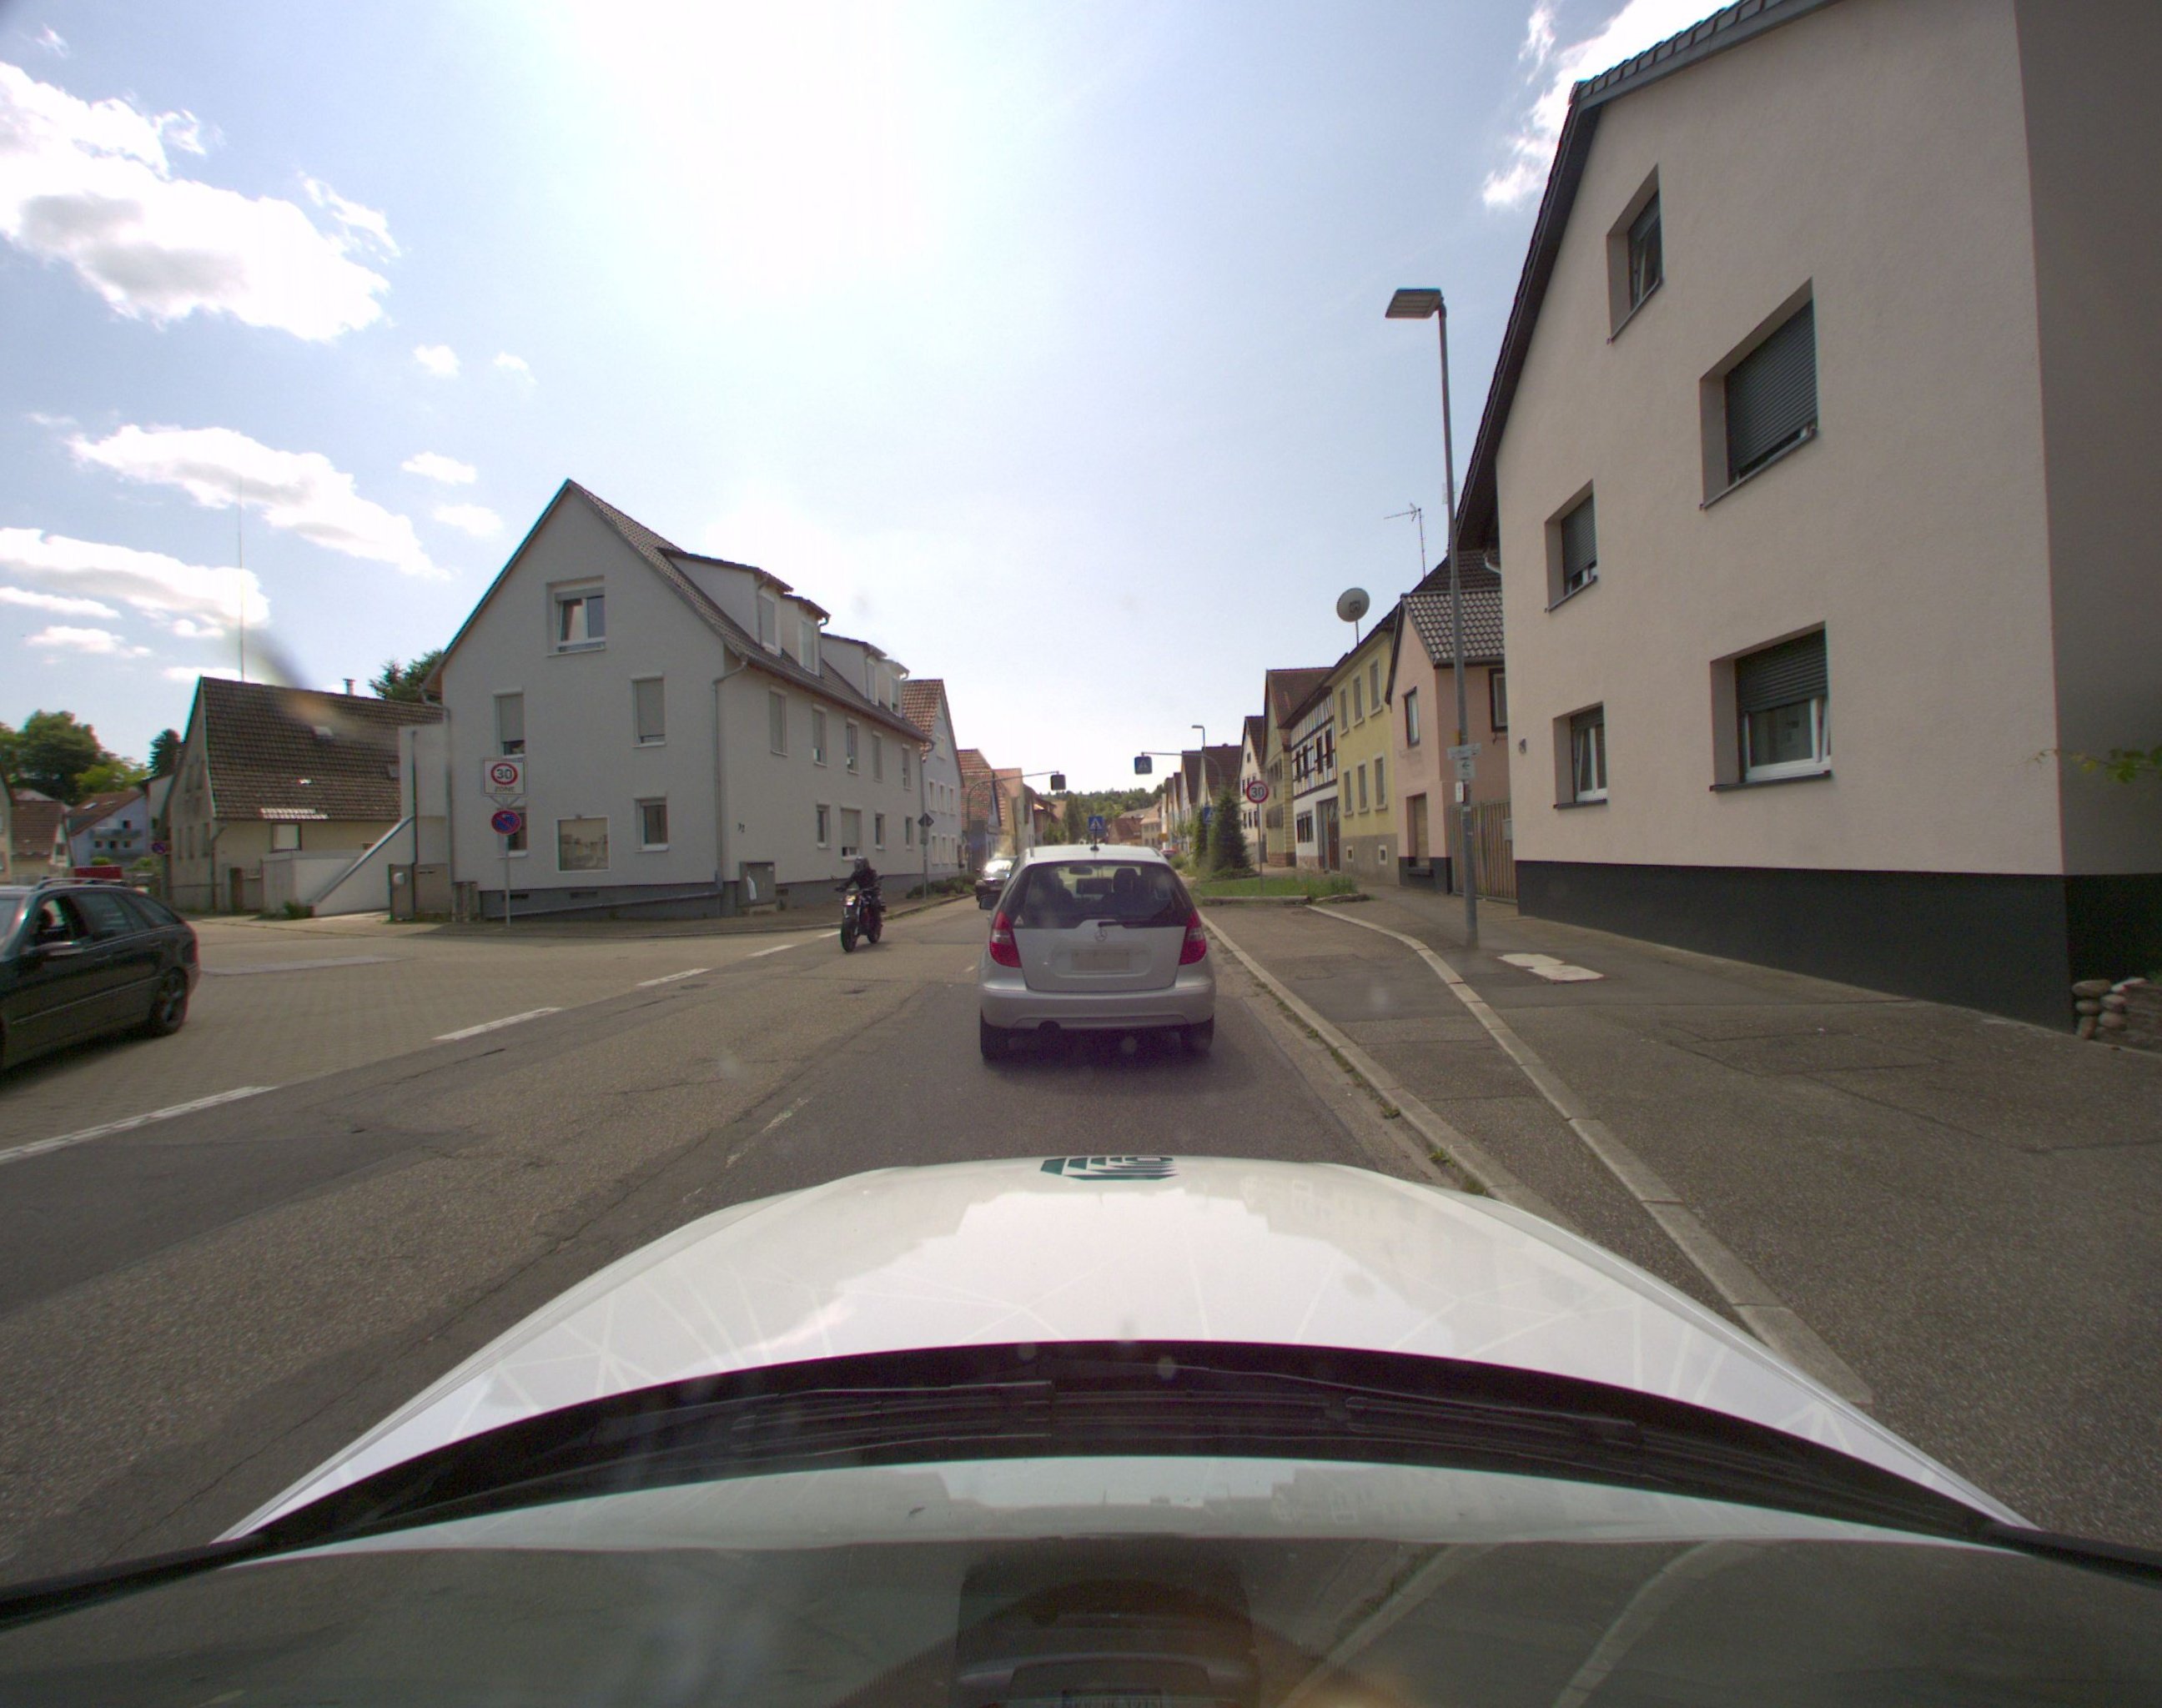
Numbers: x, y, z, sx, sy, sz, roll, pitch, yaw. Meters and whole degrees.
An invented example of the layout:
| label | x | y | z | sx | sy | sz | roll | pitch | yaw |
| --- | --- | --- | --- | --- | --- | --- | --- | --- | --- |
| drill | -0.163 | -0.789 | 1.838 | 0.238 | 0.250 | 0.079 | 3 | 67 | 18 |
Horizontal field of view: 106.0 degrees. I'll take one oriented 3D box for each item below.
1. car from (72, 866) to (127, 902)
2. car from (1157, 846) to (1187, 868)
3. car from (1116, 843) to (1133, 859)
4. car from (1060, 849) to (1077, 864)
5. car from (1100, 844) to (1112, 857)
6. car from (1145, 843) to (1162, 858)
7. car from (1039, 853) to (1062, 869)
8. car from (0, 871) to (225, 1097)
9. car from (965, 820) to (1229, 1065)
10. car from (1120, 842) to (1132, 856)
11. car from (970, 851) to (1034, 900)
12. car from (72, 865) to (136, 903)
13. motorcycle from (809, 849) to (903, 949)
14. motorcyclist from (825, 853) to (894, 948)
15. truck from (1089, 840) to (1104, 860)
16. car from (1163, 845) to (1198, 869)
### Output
| label | x | y | z | sx | sy | sz | roll | pitch | yaw |
| --- | --- | --- | --- | --- | --- | --- | --- | --- | --- |
| car | -46.310 | 1.425 | 38.418 | 3.431 | 1.635 | 1.406 | -3 | -2 | 36 |
| car | 6.934 | 0.246 | 62.315 | 1.985 | 1.508 | 4.002 | -1 | -2 | 2 |
| car | 5.452 | -0.310 | 101.776 | 1.986 | 1.816 | 4.001 | -1 | -2 | 1 |
| car | -1.347 | 0.305 | 92.159 | 1.660 | 1.596 | 4.002 | -1 | -2 | 3 |
| car | 4.507 | -0.606 | 145.342 | 1.985 | 2.014 | 4.004 | -1 | -2 | 4 |
| car | 9.365 | -0.454 | 105.723 | 1.986 | 1.816 | 4.001 | -1 | -2 | 1 |
| car | -2.753 | 0.627 | 73.249 | 1.989 | 1.321 | 3.704 | -1 | -2 | -3 |
| car | -8.292 | 0.870 | 5.848 | 1.820 | 1.412 | 4.589 | 0 | -2 | -32 |
| car | -0.017 | 0.608 | 7.410 | 1.807 | 1.643 | 3.723 | 0 | -1 | -4 |
| car | 7.269 | -0.754 | 131.682 | 1.986 | 2.014 | 4.002 | -1 | -2 | 2 |
| car | -2.617 | 0.726 | 27.718 | 1.493 | 1.540 | 3.861 | 0 | -2 | 5 |
| car | -42.019 | 1.290 | 34.999 | 3.431 | 1.530 | 1.500 | -3 | -2 | 36 |
| motorcycle | -3.761 | 0.704 | 13.808 | 0.876 | 1.561 | 1.969 | -1 | 0 | 4 |
| motorcyclist | -3.753 | 0.772 | 13.867 | 0.893 | 1.554 | 0.807 | -1 | 0 | 3 |
| truck | 2.155 | -0.554 | 113.893 | 1.986 | 2.537 | 6.741 | -1 | -2 | 2 |
| car | 6.737 | 0.218 | 55.482 | 1.985 | 1.508 | 4.002 | -1 | -2 | 2 |
